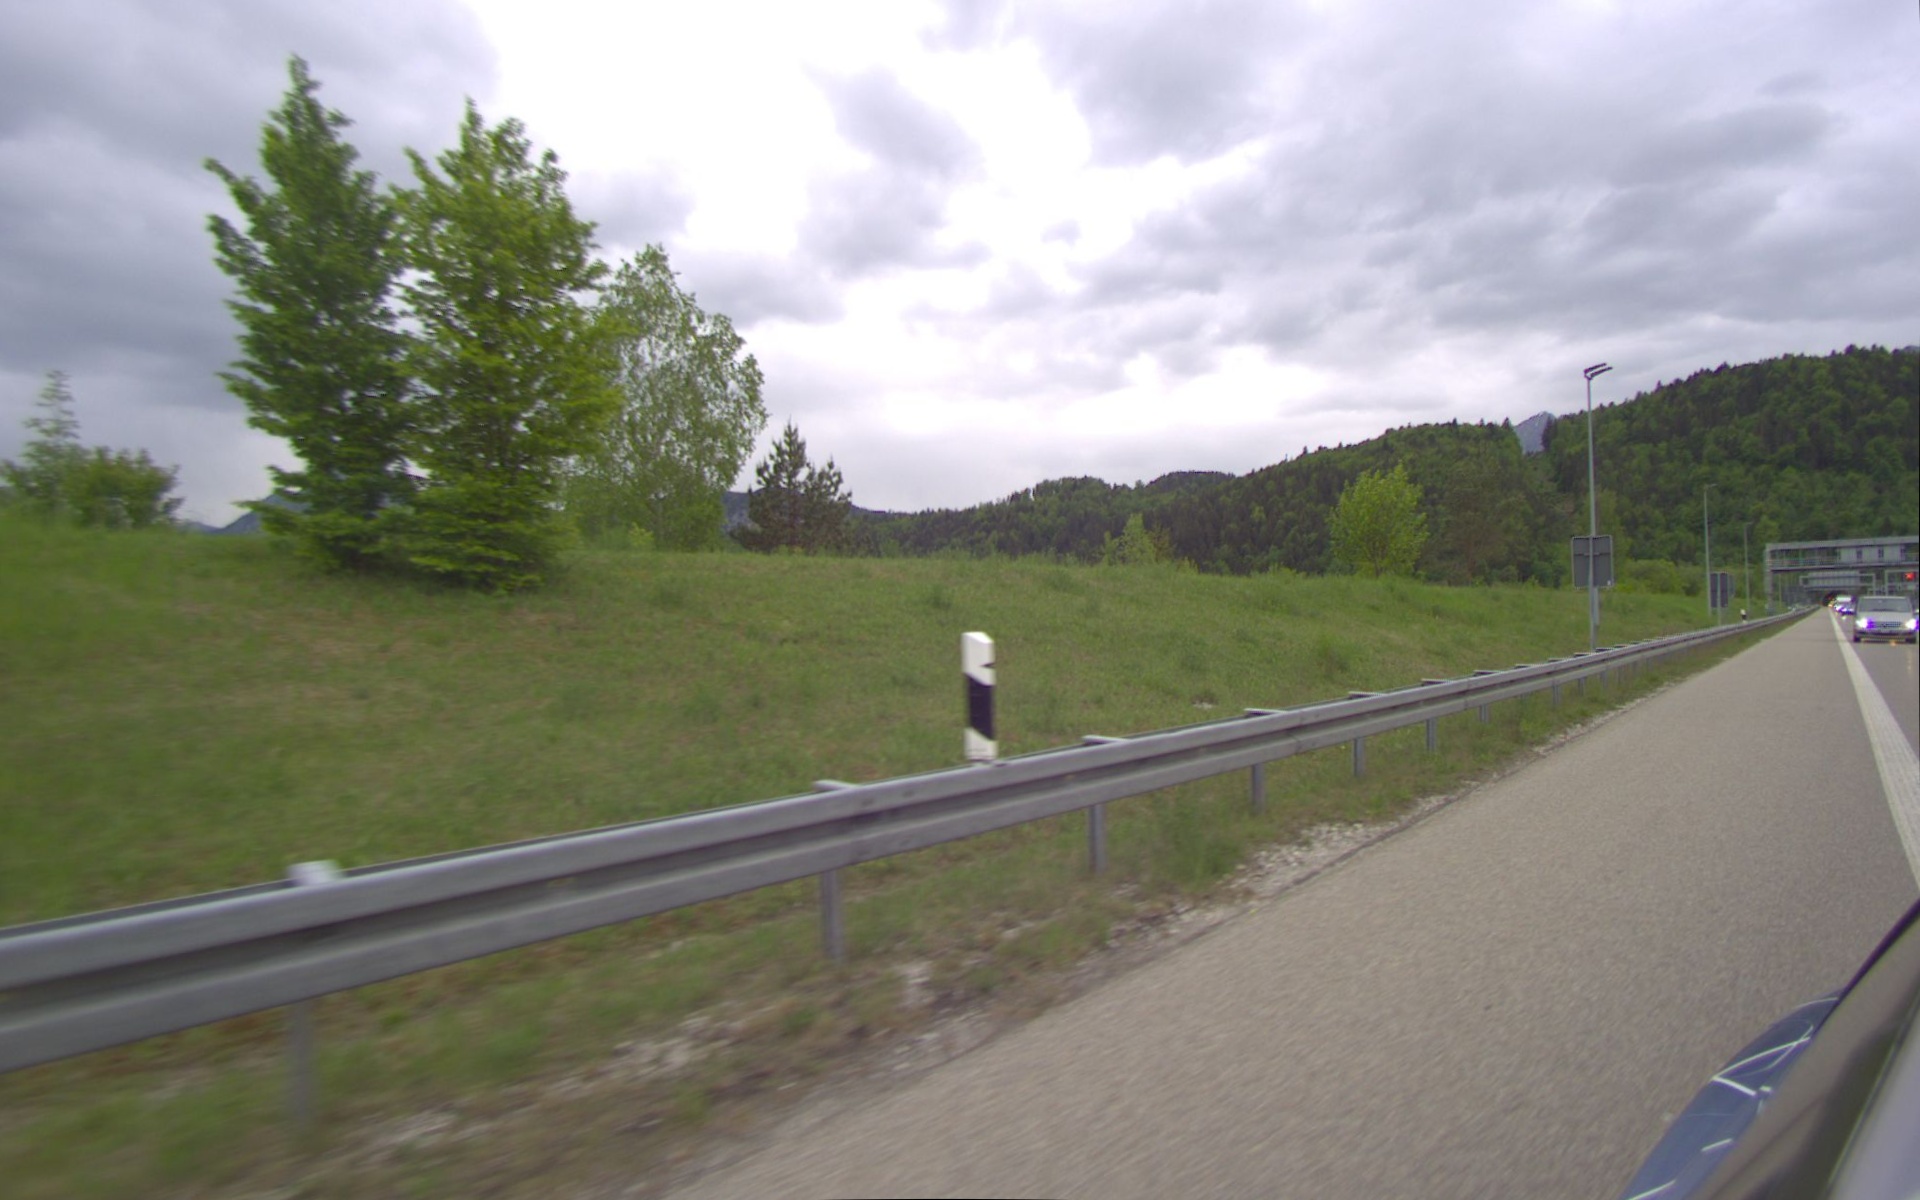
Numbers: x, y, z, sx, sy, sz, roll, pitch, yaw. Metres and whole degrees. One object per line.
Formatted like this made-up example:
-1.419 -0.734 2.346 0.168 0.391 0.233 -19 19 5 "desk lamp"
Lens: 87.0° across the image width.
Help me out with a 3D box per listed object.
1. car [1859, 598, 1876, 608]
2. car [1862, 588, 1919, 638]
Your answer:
124.207 0.399 138.471 1.658 1.354 3.735 0 0 41 "car"
37.679 0.461 40.774 1.917 1.905 5.059 1 1 43 "car"
